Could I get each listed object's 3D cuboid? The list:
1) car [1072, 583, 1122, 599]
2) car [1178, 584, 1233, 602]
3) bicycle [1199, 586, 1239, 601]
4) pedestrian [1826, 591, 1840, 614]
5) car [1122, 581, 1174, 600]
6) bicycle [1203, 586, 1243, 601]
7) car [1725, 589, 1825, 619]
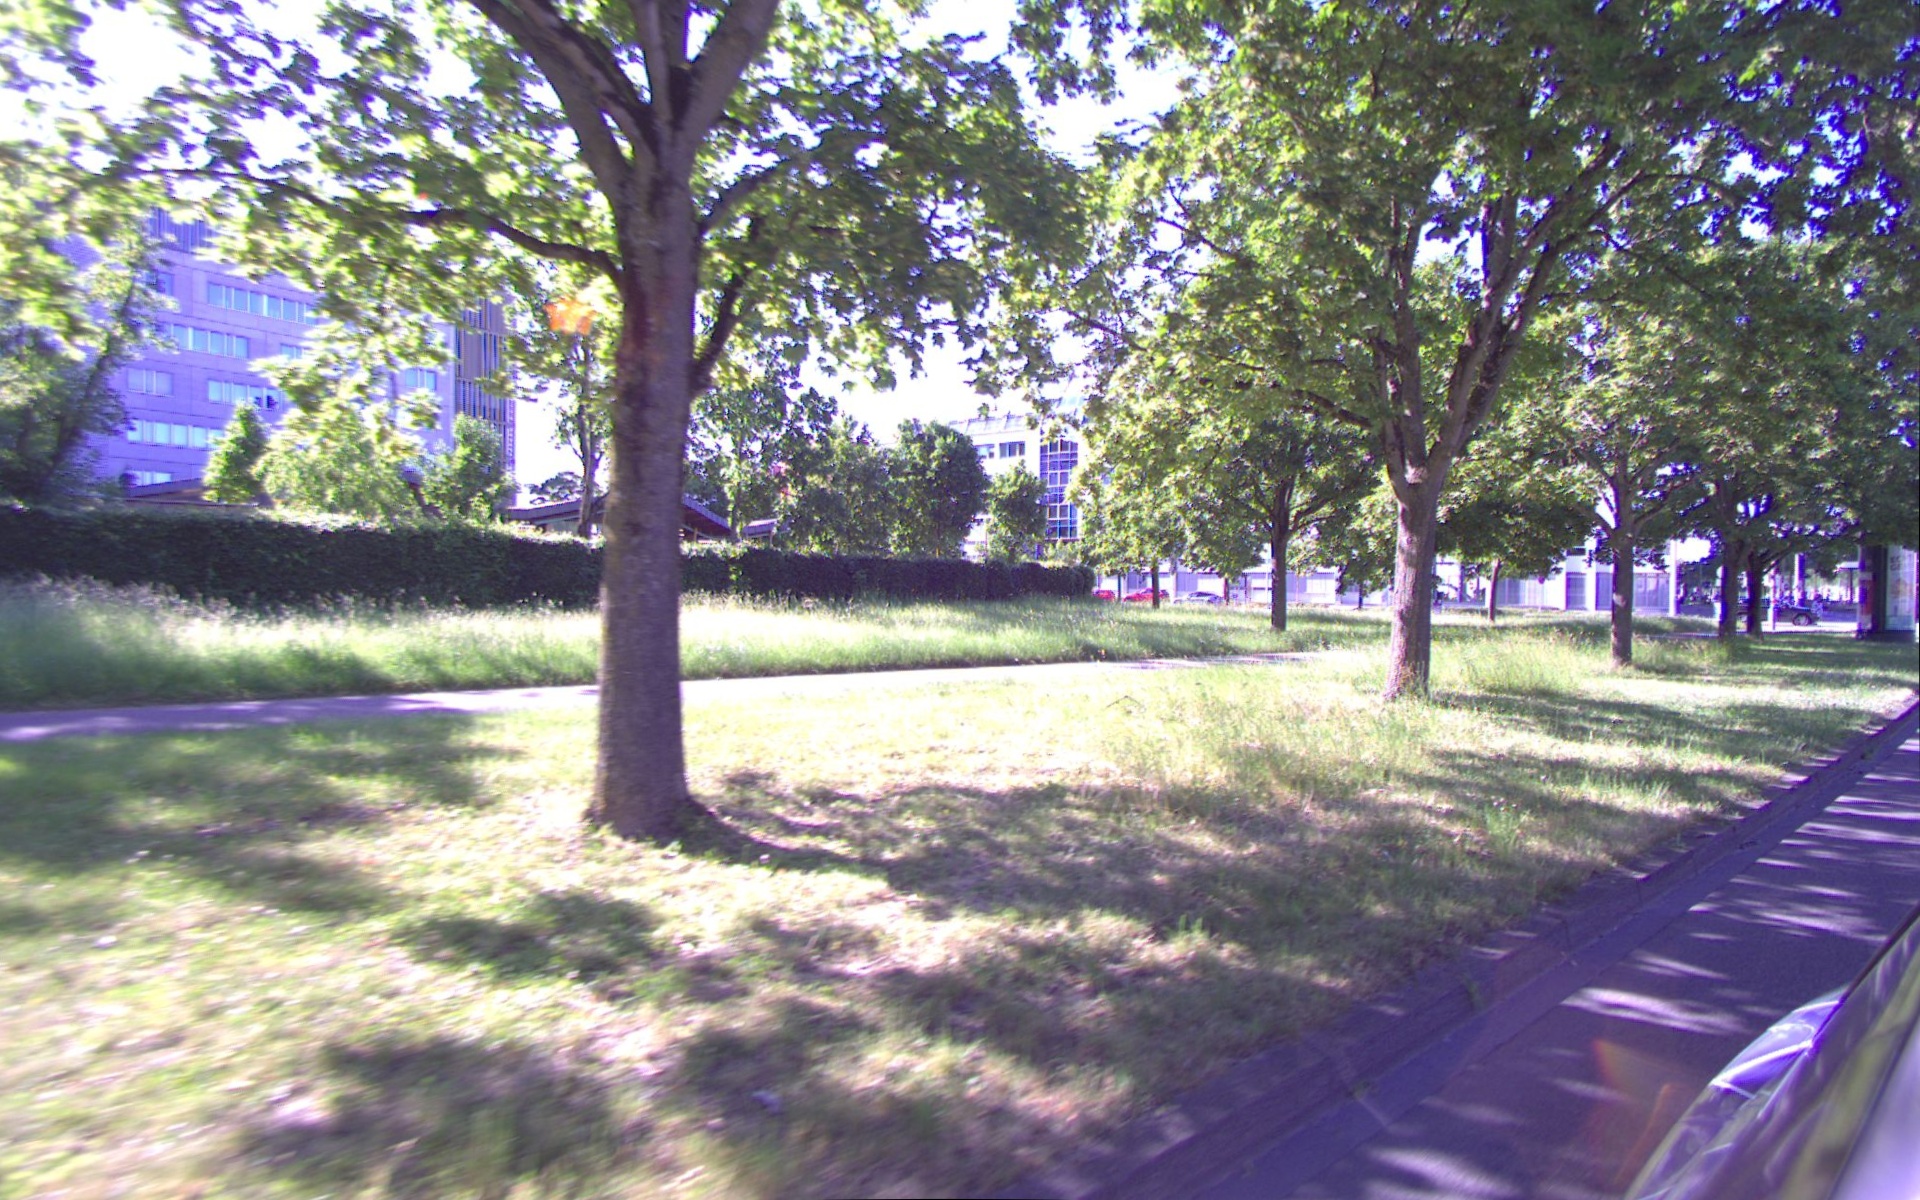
[{"bbox_3d":[12.972,-0.836,95.890,4.256,1.438,1.897,1,1,33],"label":"car"},{"bbox_3d":[21.295,-0.606,87.945,4.256,1.438,1.897,1,1,33],"label":"car"},{"bbox_3d":[24.189,-0.603,94.516,3.513,1.365,0.977,1,1,36],"label":"bicycle"},{"bbox_3d":[64.603,0.184,74.900,0.730,1.718,0.724,1,0,42],"label":"pedestrian"},{"bbox_3d":[17.274,-0.882,93.033,4.256,1.615,1.897,1,1,33],"label":"car"},{"bbox_3d":[24.796,-0.617,95.363,3.513,1.365,0.977,1,1,36],"label":"bicycle"},{"bbox_3d":[49.237,0.196,61.280,4.605,1.643,1.974,1,2,37],"label":"car"}]
